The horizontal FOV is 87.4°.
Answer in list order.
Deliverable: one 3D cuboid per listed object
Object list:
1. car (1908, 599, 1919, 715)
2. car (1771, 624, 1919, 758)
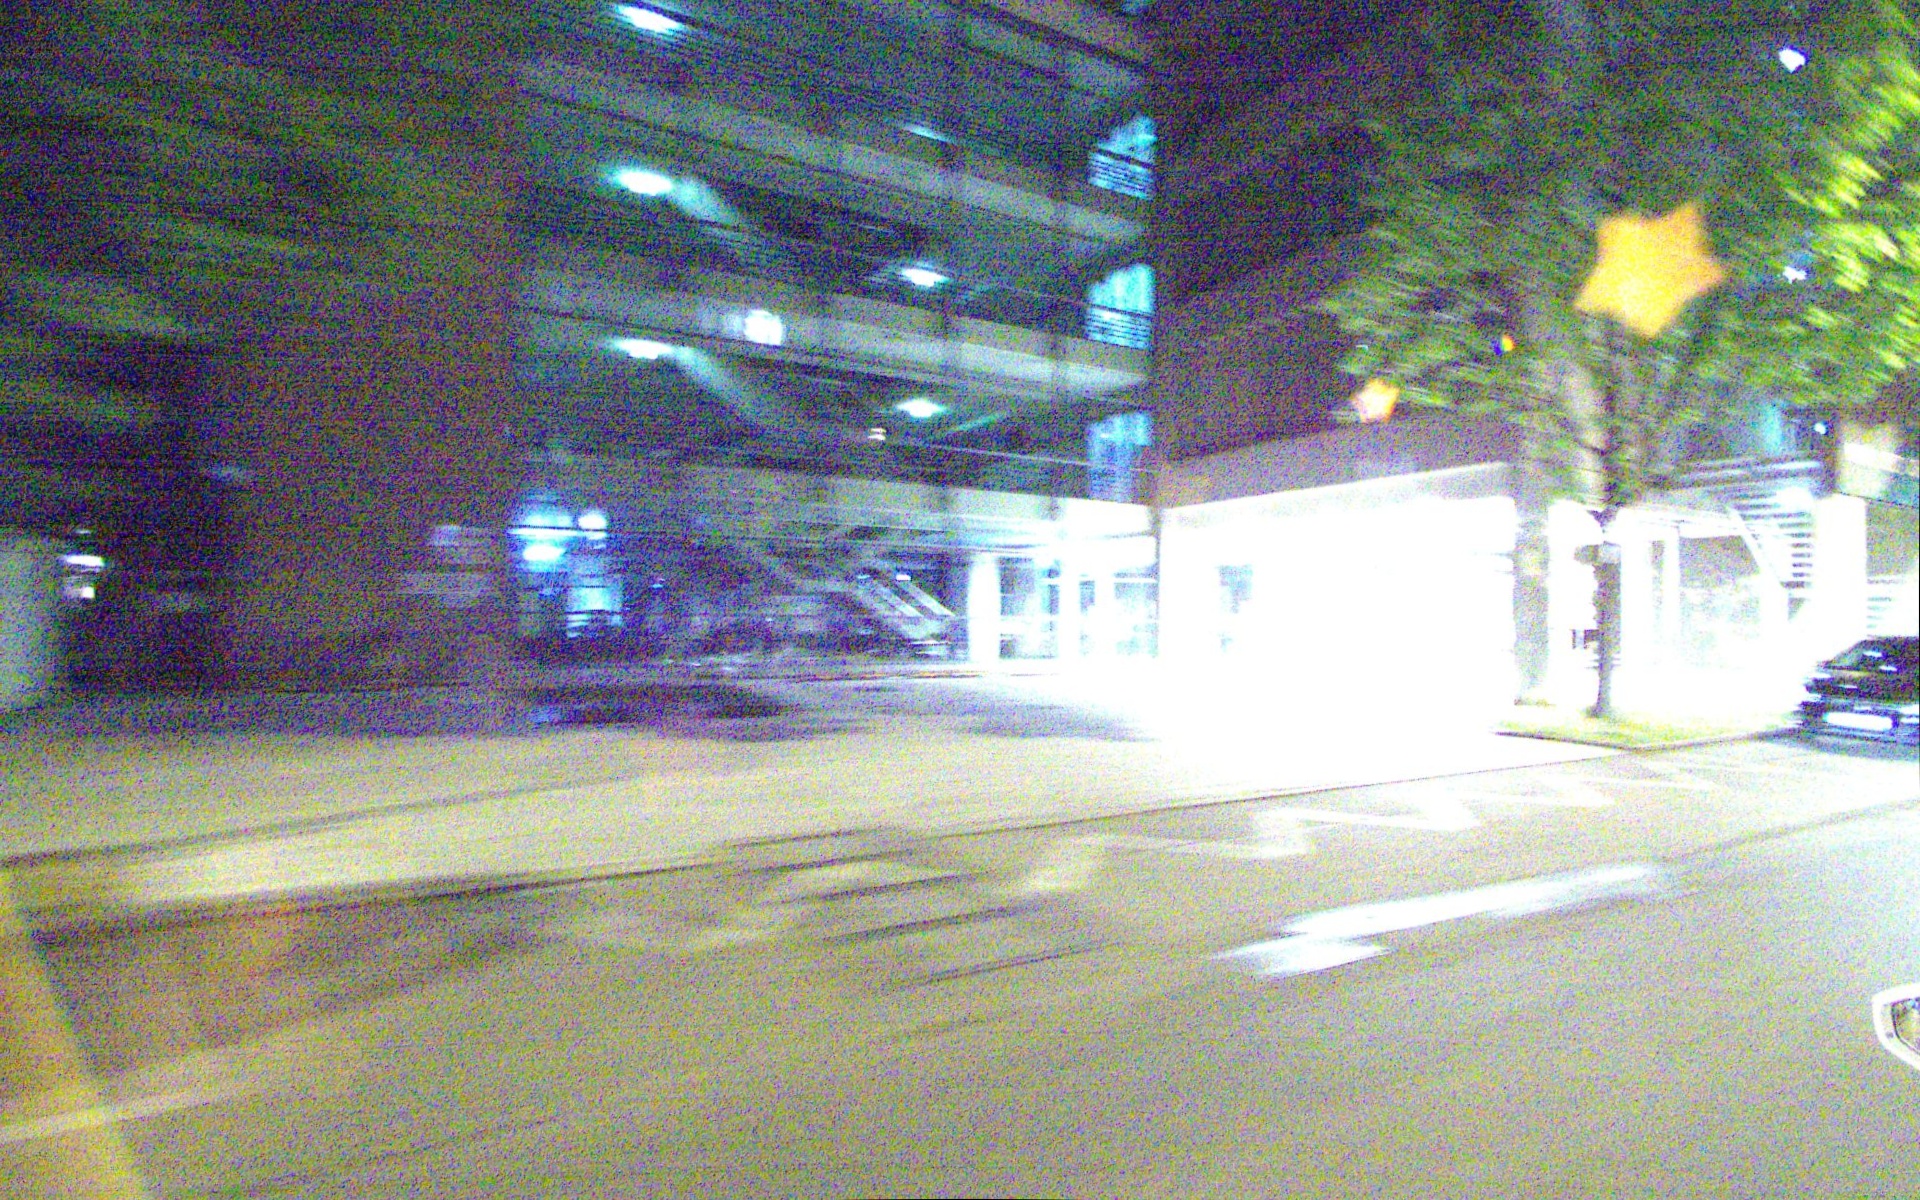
[{"bbox_3d":[17.397,0.962,16.232,4.159,1.836,1.814,1,2,-29],"label":"car"},{"bbox_3d":[12.502,1.105,13.201,3.786,1.453,1.690,1,2,-32],"label":"car"}]
